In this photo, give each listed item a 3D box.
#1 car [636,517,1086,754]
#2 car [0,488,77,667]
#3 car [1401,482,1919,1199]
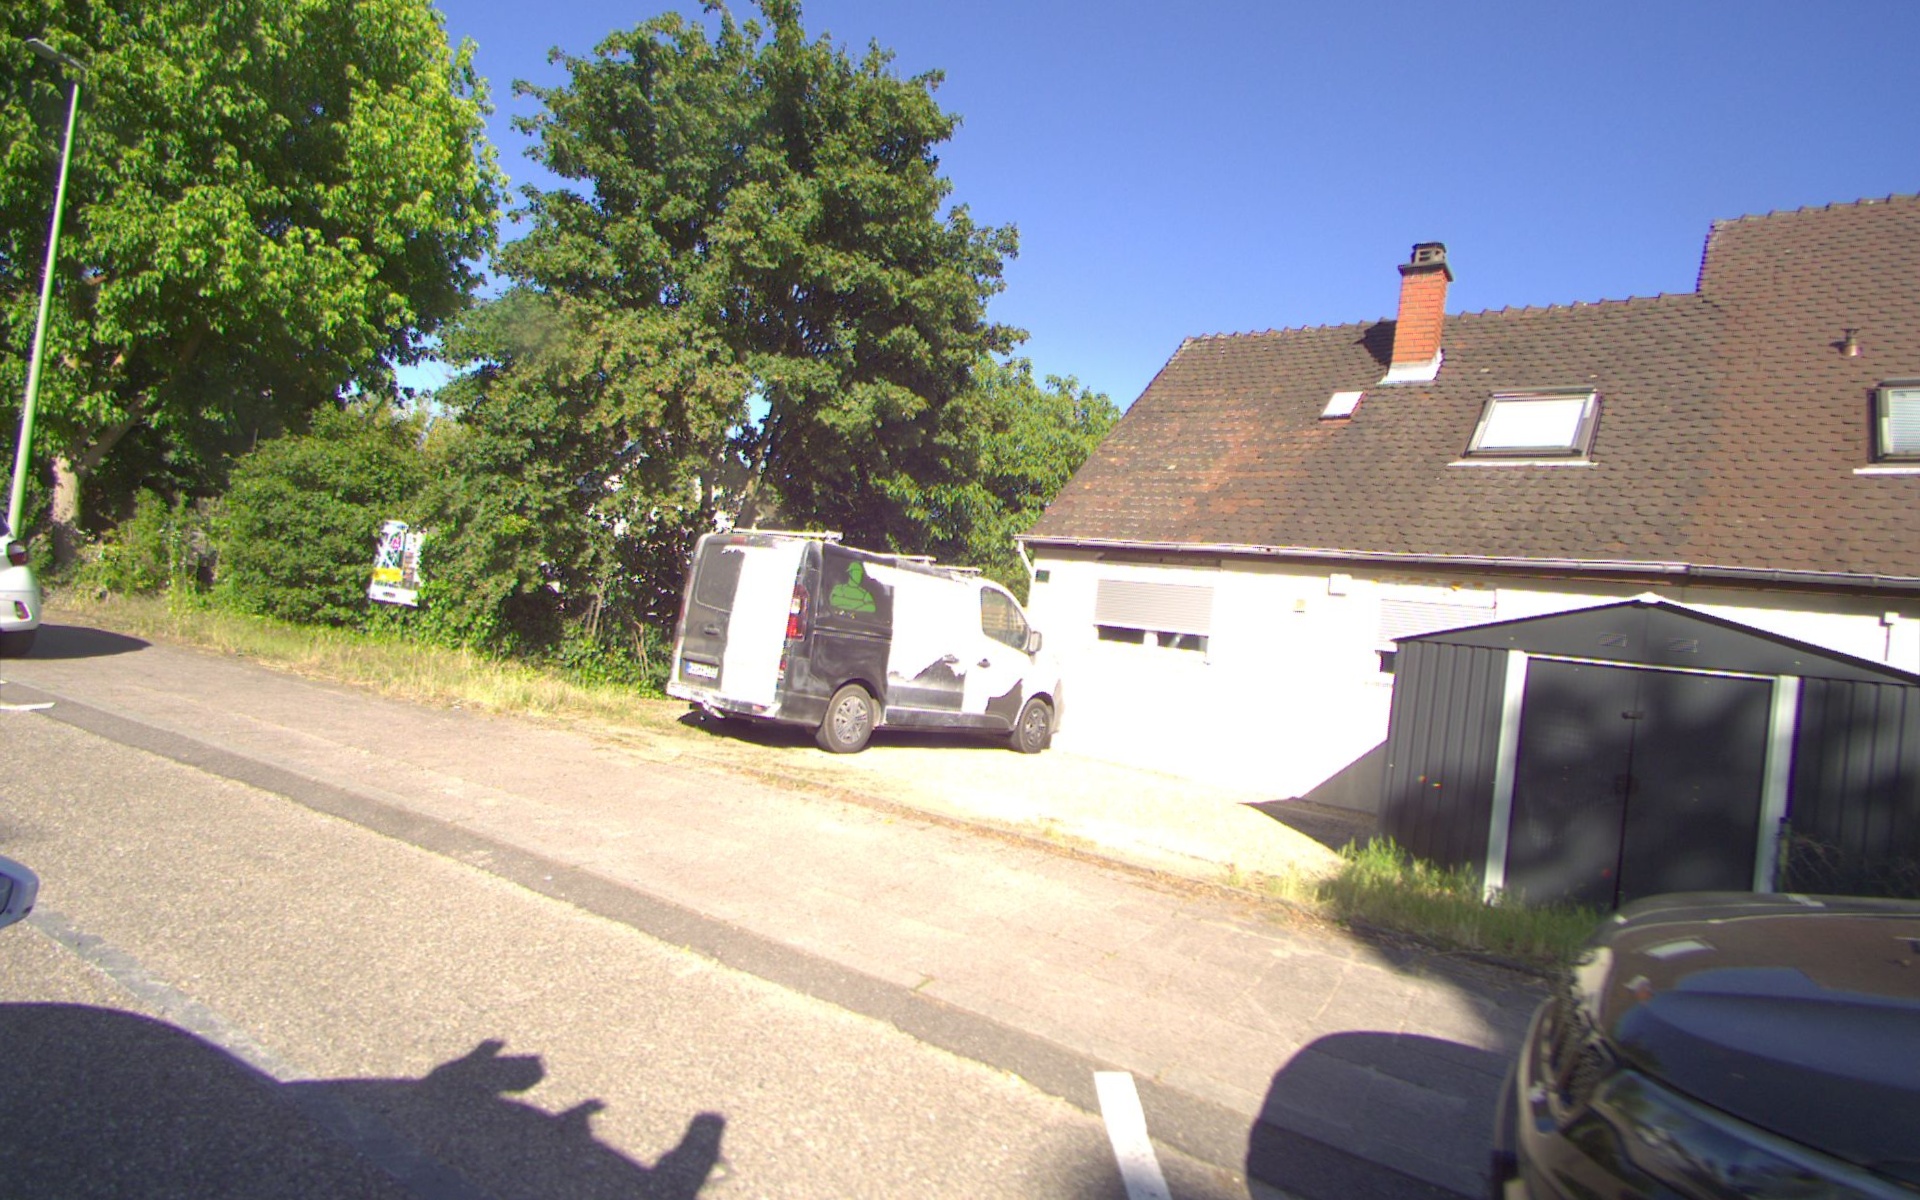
[{"bbox_3d":[-0.827,0.496,11.095,2.112,2.006,4.680,5,-3,39],"label":"car"},{"bbox_3d":[-10.204,-0.422,9.043,4.217,1.497,1.766,6,-2,25],"label":"car"},{"bbox_3d":[2.863,0.954,0.988,4.226,1.744,1.780,6,-2,34],"label":"car"}]
